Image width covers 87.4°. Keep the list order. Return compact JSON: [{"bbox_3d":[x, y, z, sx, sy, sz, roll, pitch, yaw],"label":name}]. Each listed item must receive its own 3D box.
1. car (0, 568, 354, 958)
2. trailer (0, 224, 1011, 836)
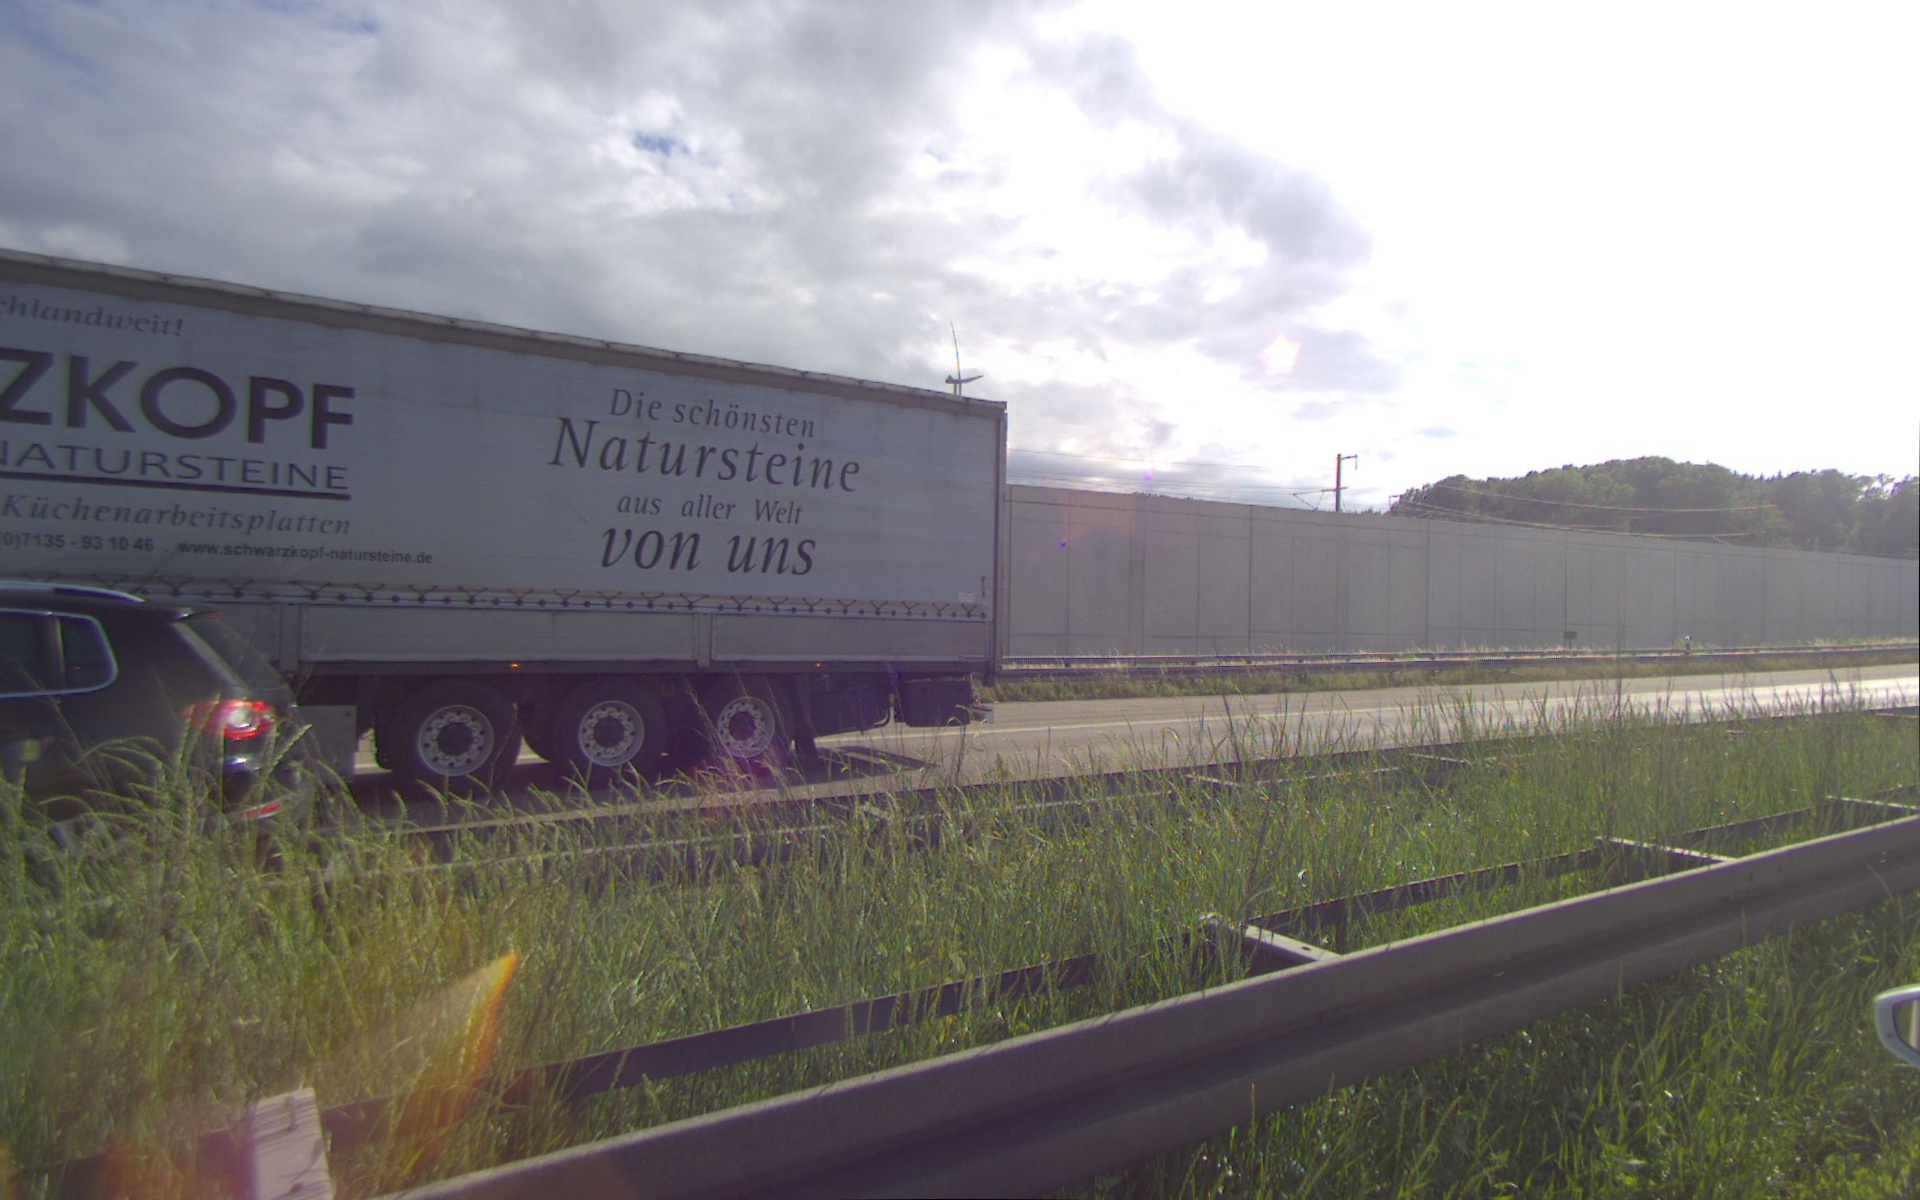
[{"bbox_3d":[-5.323,0.707,4.785,4.127,1.728,1.699,2,-1,-32],"label":"car"},{"bbox_3d":[-5.639,-0.417,8.944,13.051,4.237,2.378,2,-2,-31],"label":"trailer"}]
